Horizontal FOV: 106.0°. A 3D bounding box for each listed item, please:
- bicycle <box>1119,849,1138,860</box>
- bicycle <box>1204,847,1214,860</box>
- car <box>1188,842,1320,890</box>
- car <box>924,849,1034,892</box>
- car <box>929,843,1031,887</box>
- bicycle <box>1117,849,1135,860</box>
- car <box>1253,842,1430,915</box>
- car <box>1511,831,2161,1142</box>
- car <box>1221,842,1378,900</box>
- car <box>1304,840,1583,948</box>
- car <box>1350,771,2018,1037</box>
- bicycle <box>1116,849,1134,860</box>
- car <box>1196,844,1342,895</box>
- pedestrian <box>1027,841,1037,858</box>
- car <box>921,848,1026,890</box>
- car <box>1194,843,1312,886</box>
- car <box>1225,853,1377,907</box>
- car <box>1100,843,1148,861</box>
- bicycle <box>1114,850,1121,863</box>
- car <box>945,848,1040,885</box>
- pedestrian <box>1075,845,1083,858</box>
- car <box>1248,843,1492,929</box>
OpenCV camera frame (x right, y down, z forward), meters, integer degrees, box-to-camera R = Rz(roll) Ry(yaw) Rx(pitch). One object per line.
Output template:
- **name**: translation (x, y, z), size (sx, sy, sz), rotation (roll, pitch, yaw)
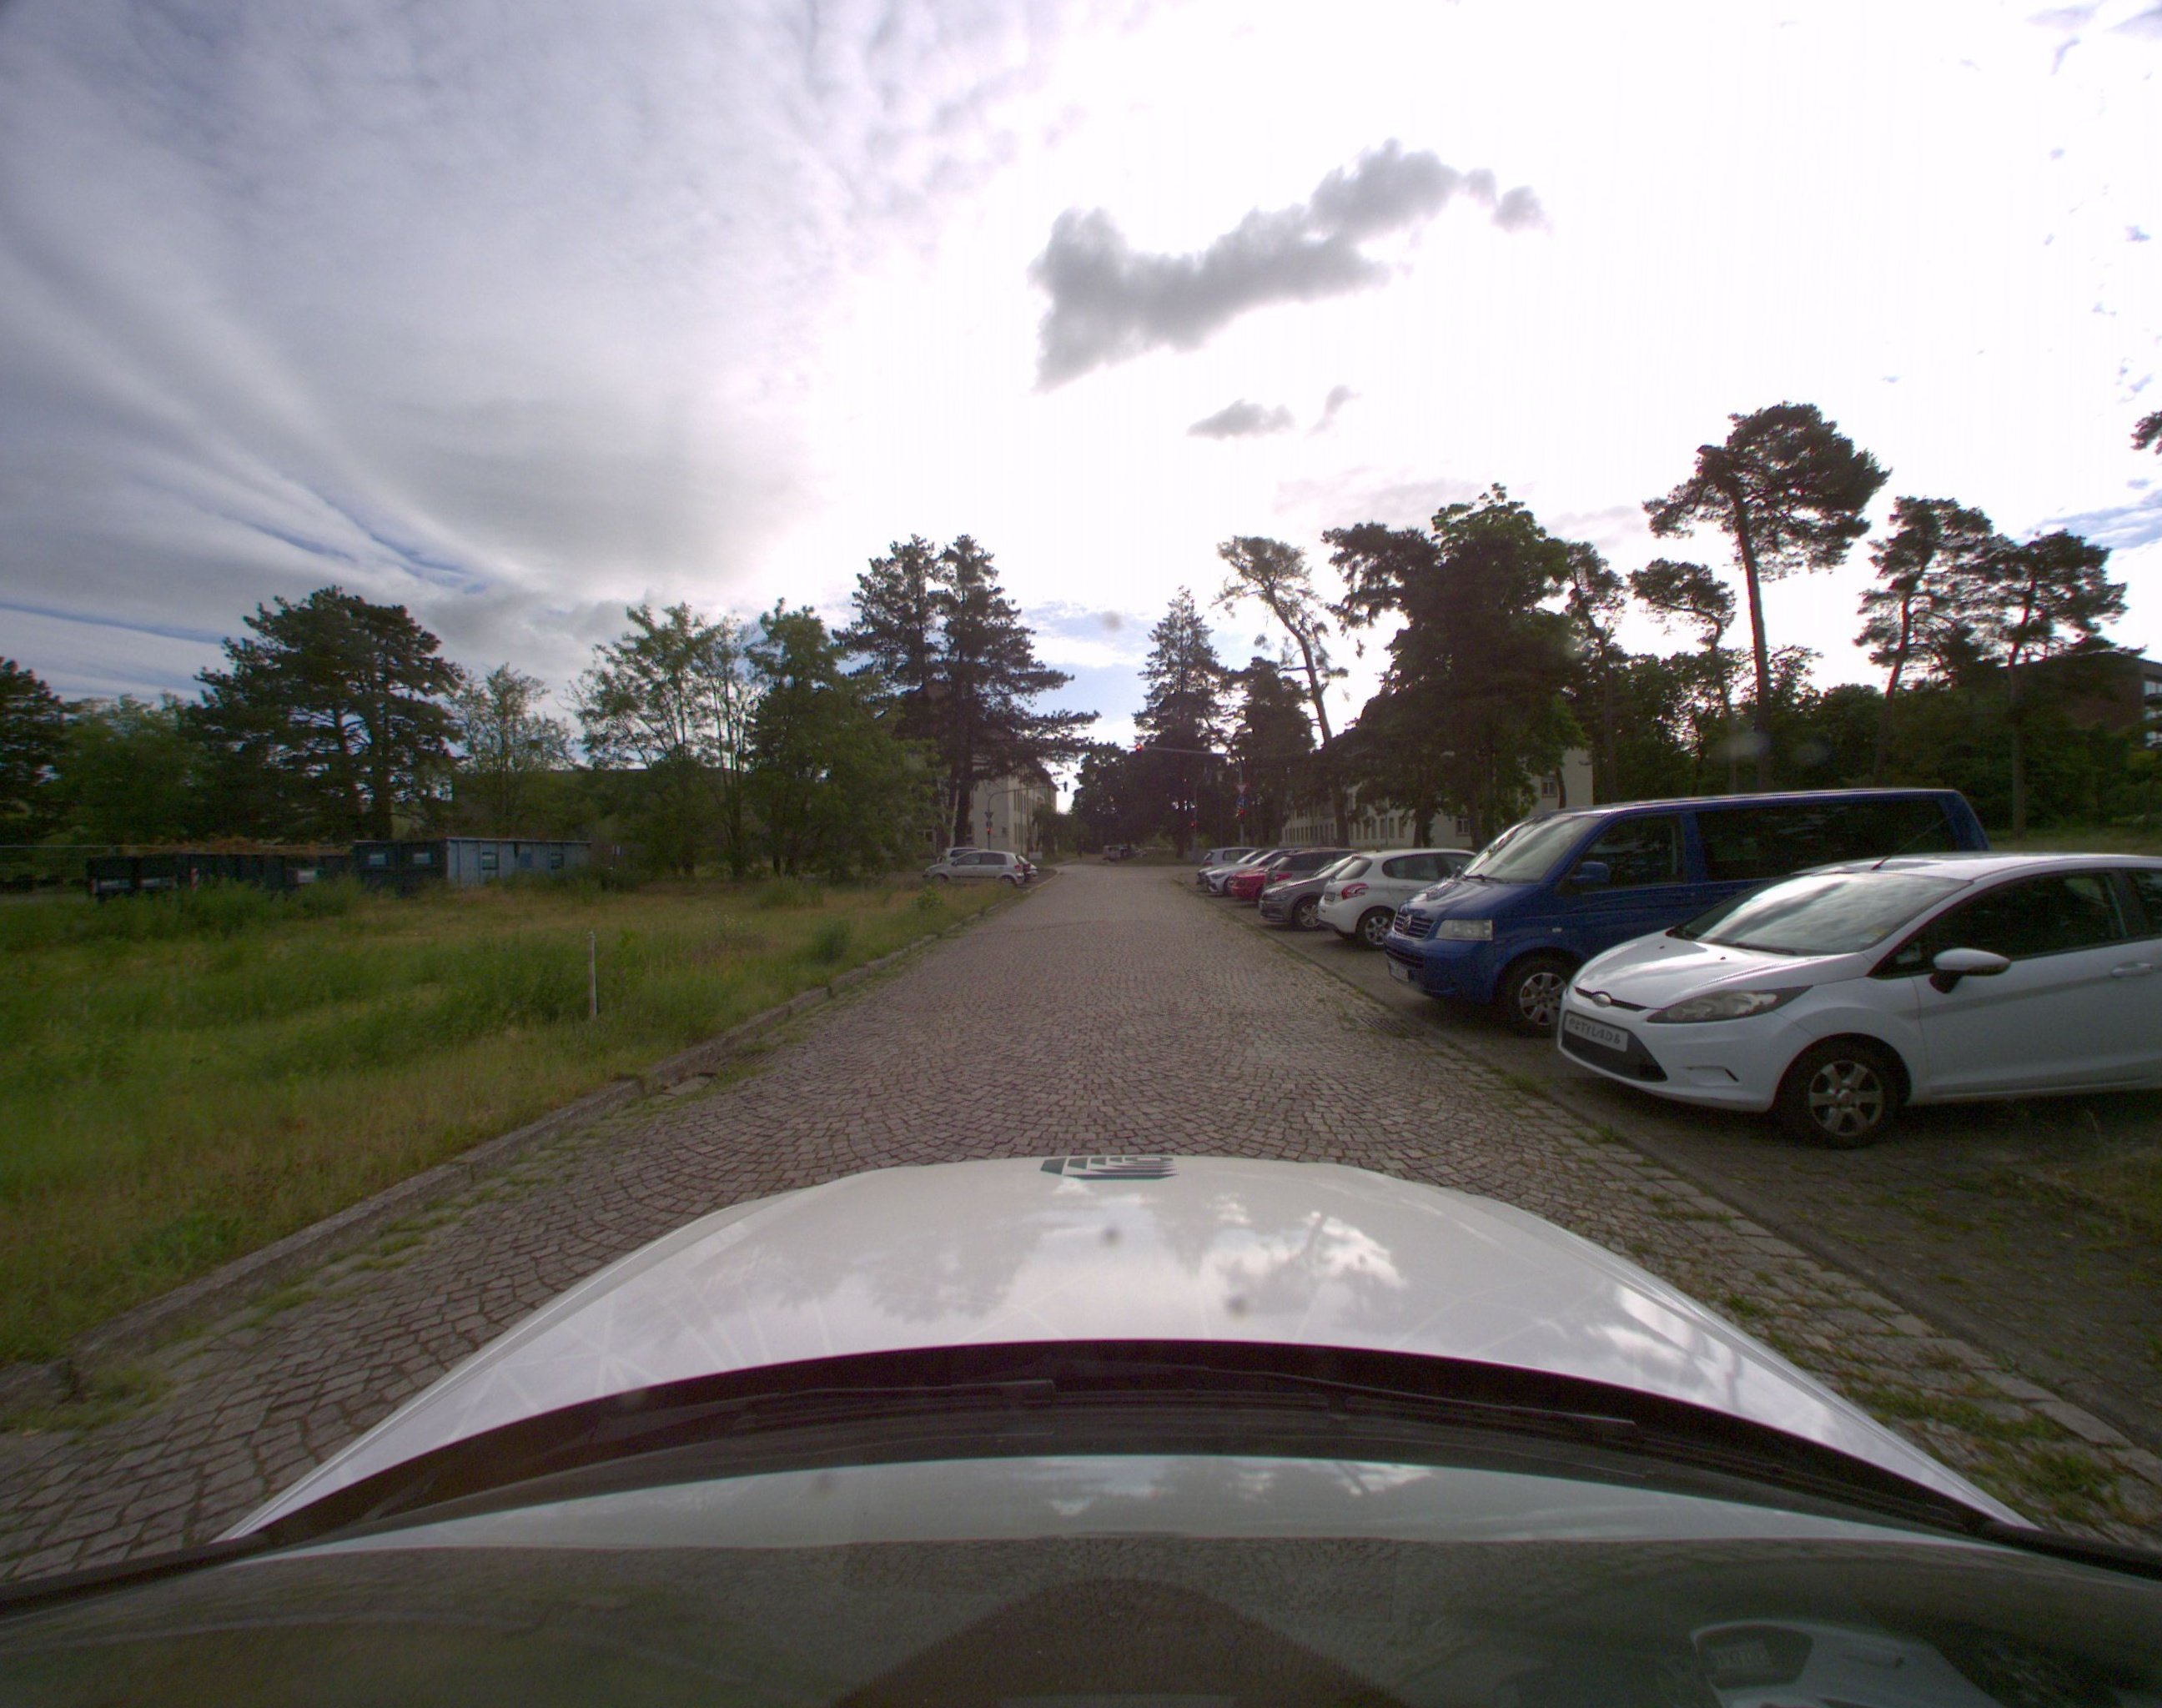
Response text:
- **bicycle**: translation (4.935, 0.074, 84.408), size (1.877, 1.171, 0.664), rotation (0, 0, -4)
- **bicycle**: translation (10.720, -0.012, 68.107), size (0.660, 1.051, 1.889), rotation (0, 1, 3)
- **car**: translation (6.072, 0.397, 28.799), size (4.227, 1.479, 1.704), rotation (-2, 0, -9)
- **car**: translation (-4.102, 0.633, 33.301), size (4.289, 1.554, 1.809), rotation (-2, 0, -4)
- **car**: translation (-4.428, 0.458, 36.116), size (4.289, 1.732, 1.651), rotation (-2, 0, -4)
- **bicycle**: translation (4.768, 0.065, 86.099), size (1.877, 1.171, 0.664), rotation (0, 0, -4)
- **car**: translation (5.889, 0.535, 18.698), size (3.492, 1.487, 1.744), rotation (-2, 0, 1)
- **car**: translation (5.185, 0.660, 5.093), size (4.086, 1.478, 1.721), rotation (-2, 0, -1)
- **car**: translation (6.260, 0.462, 23.660), size (4.091, 1.476, 1.684), rotation (-2, 0, 0)
- **car**: translation (5.596, 0.588, 12.929), size (3.639, 1.478, 1.766), rotation (-2, 0, 2)
- **car**: translation (5.250, 0.397, 7.624), size (4.780, 2.004, 1.966), rotation (-2, 0, 0)
- **bicycle**: translation (4.691, 0.060, 87.055), size (1.877, 1.171, 0.664), rotation (0, 0, -4)
- **car**: translation (5.945, 0.472, 26.033), size (4.179, 1.437, 1.752), rotation (-2, 0, -5)
- **pedestrian**: translation (-5.832, -0.562, 96.359), size (1.070, 1.959, 1.122), rotation (0, 0, 2)
- **car**: translation (-3.978, 0.556, 30.698), size (3.709, 1.480, 1.672), rotation (1, 0, -1)
- **car**: translation (6.577, 0.390, 31.340), size (4.126, 1.463, 1.632), rotation (-2, 0, -4)
- **car**: translation (5.673, 0.656, 21.332), size (3.571, 1.222, 1.630), rotation (-2, 0, 3)
- **car**: translation (5.208, -0.222, 98.358), size (5.377, 2.101, 2.171), rotation (-1, 0, -10)
- **bicycle**: translation (3.518, 0.237, 78.949), size (0.660, 1.171, 1.889), rotation (0, 0, 3)
- **car**: translation (-4.140, 0.556, 38.565), size (4.289, 1.554, 1.809), rotation (-2, 0, -4)
- **pedestrian**: translation (-0.321, -0.397, 128.198), size (1.236, 1.959, 1.120), rotation (0, 0, -3)
- **car**: translation (5.475, 0.589, 15.839), size (4.114, 1.447, 1.767), rotation (-2, 0, 2)
